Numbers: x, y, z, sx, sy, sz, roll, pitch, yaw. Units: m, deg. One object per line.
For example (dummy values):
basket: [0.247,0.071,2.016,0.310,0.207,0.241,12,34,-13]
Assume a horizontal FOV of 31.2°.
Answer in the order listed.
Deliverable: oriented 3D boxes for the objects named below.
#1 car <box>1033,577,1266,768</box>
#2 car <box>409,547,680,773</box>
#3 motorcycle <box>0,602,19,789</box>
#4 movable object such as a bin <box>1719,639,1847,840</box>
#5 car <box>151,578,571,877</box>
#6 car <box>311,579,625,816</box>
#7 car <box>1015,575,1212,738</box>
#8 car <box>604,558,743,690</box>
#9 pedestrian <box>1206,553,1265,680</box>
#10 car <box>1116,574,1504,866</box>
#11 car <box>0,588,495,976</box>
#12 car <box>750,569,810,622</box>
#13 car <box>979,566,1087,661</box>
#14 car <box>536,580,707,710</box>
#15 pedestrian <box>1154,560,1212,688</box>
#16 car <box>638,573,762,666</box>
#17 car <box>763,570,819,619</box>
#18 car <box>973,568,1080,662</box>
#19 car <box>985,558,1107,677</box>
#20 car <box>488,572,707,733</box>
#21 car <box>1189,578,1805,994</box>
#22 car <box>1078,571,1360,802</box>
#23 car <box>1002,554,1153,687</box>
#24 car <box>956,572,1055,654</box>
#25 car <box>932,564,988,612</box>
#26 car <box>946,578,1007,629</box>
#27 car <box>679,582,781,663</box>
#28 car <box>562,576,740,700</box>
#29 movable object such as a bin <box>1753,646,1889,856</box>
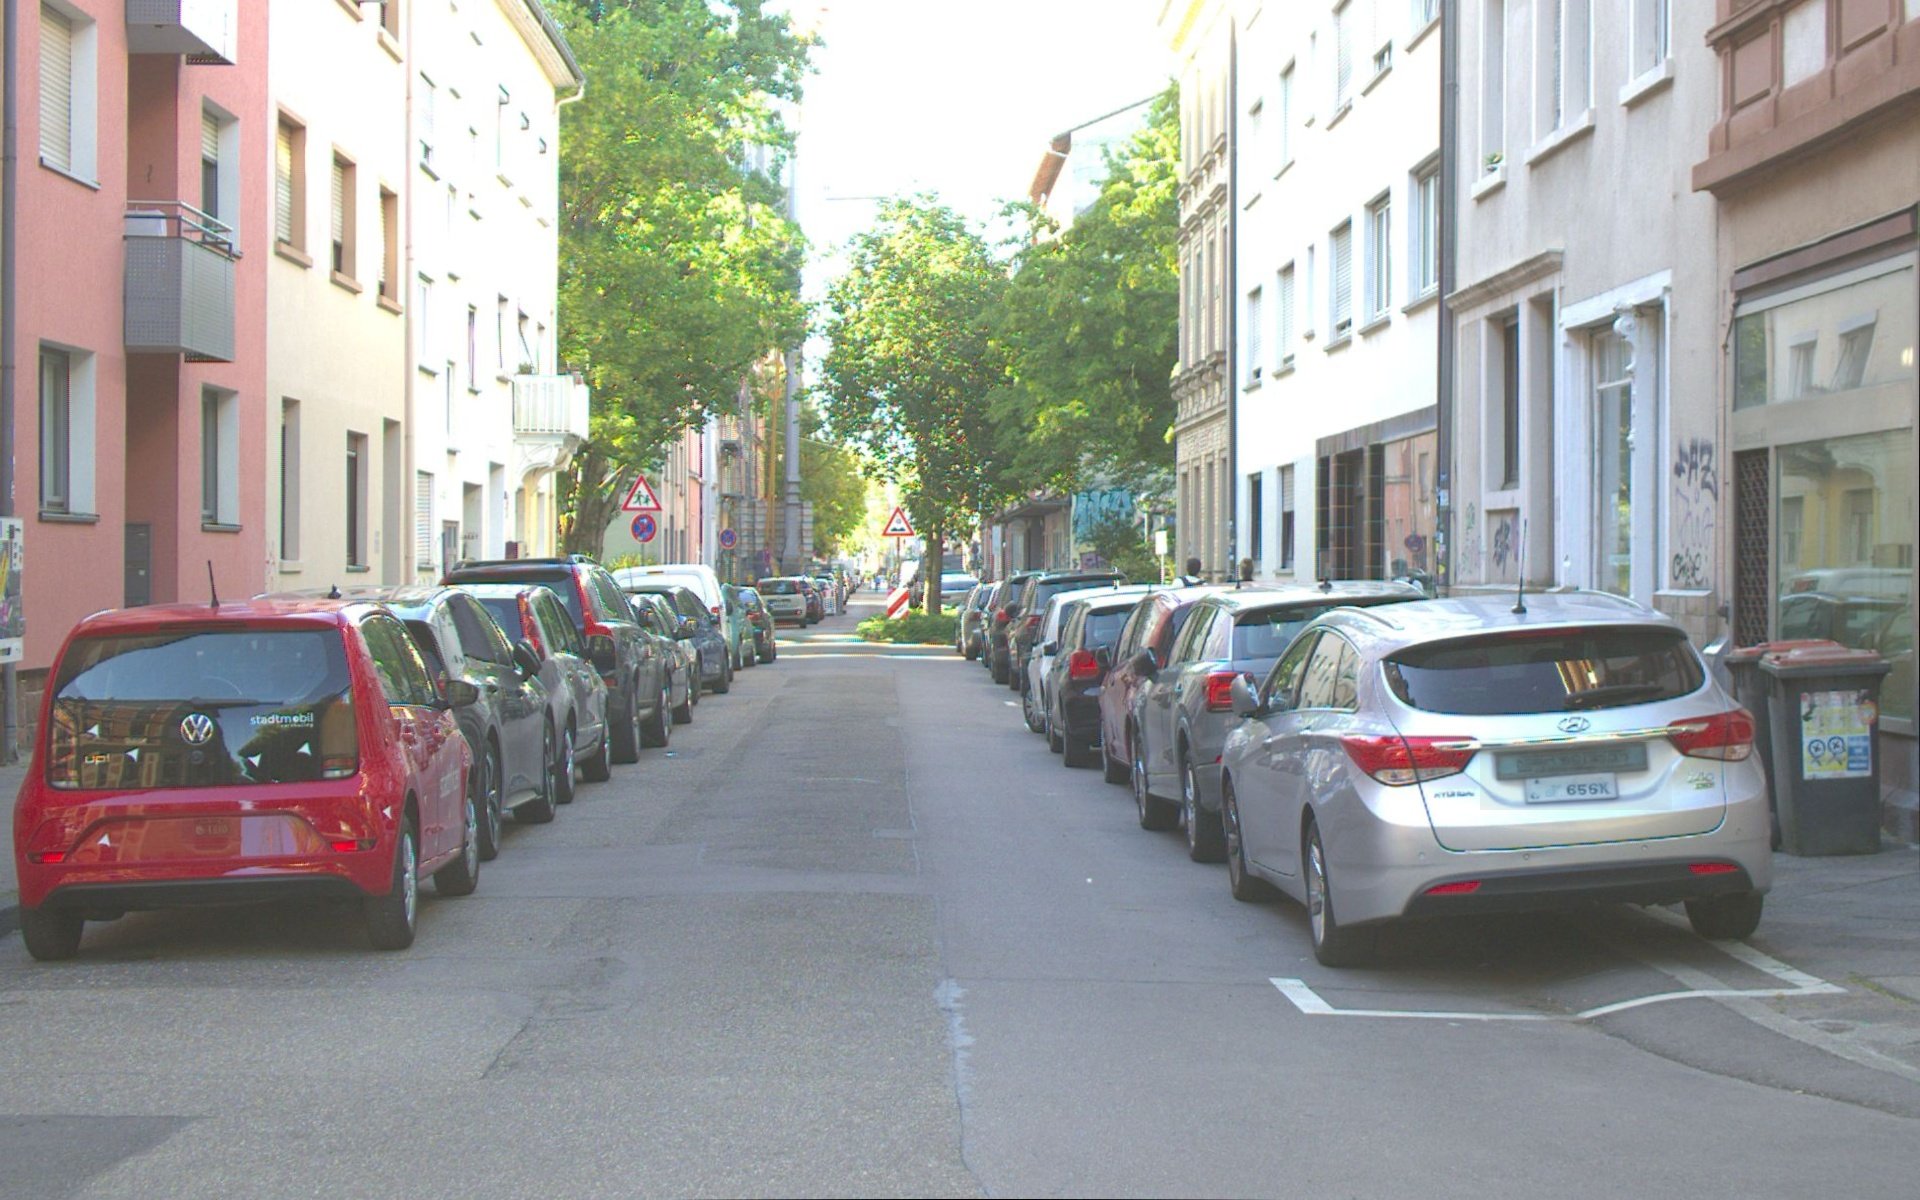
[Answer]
car: [1.611,0.584,30.361,1.675,1.501,3.938,-2,1,-2]
car: [-3.604,0.459,30.583,1.743,1.805,4.672,-2,1,1]
motorcycle: [-6.460,0.623,21.720,0.533,1.201,1.909,0,1,-1]
movable object such as a bin: [4.417,0.743,18.472,0.514,1.036,0.594,-2,0,-1]
car: [-3.429,0.670,20.388,1.695,1.516,4.096,-2,1,1]
car: [-3.511,0.647,25.181,1.656,1.516,3.944,-2,1,1]
car: [1.517,0.533,35.248,1.675,1.501,3.938,-2,1,-2]
car: [-4.122,0.308,49.924,1.765,1.779,4.039,-2,1,-2]
pedestrian: [3.614,0.210,45.087,0.685,1.654,0.717,-1,1,-1]
car: [1.984,0.633,20.576,1.744,1.501,4.021,-2,1,-2]
car: [-3.141,0.726,15.639,1.628,1.476,3.601,-2,1,-2]
car: [-5.419,-0.150,104.008,1.675,1.482,4.095,-2,1,-2]
car: [1.183,0.193,57.334,1.566,1.478,3.619,-2,1,-2]
car: [-3.977,0.497,40.914,1.673,1.383,4.182,-2,1,-1]
pedestrian: [2.920,0.303,45.061,0.685,1.654,0.717,-1,1,-1]
car: [-4.402,0.310,58.712,1.670,1.464,3.820,-2,1,2]
car: [-5.358,-0.184,109.409,1.675,1.482,4.095,-2,1,-2]
car: [1.162,0.242,61.549,1.675,1.556,3.796,-2,1,-2]
car: [1.261,0.257,51.836,1.676,1.676,4.094,-2,0,0]
car: [-3.717,0.499,35.886,1.743,1.501,4.346,-2,1,1]
car: [2.195,0.693,15.266,1.743,1.501,4.358,-2,1,-4]
car: [1.832,0.572,25.423,1.598,1.501,4.185,-2,1,-2]
car: [1.562,0.247,46.924,1.676,1.621,4.251,-4,1,-2]
car: [0.854,0.228,66.450,1.675,1.482,4.095,-2,1,-2]
car: [-0.013,-0.395,111.862,1.675,1.482,3.638,-2,1,-2]
car: [0.489,0.087,105.641,1.675,1.482,3.638,-2,1,-2]
car: [-4.187,0.393,63.116,1.670,1.356,4.049,-2,1,-1]
car: [-4.025,0.468,45.307,1.673,1.481,3.991,-2,1,4]
movable object such as a bin: [4.431,0.767,17.719,0.514,1.036,0.619,-2,0,-1]
